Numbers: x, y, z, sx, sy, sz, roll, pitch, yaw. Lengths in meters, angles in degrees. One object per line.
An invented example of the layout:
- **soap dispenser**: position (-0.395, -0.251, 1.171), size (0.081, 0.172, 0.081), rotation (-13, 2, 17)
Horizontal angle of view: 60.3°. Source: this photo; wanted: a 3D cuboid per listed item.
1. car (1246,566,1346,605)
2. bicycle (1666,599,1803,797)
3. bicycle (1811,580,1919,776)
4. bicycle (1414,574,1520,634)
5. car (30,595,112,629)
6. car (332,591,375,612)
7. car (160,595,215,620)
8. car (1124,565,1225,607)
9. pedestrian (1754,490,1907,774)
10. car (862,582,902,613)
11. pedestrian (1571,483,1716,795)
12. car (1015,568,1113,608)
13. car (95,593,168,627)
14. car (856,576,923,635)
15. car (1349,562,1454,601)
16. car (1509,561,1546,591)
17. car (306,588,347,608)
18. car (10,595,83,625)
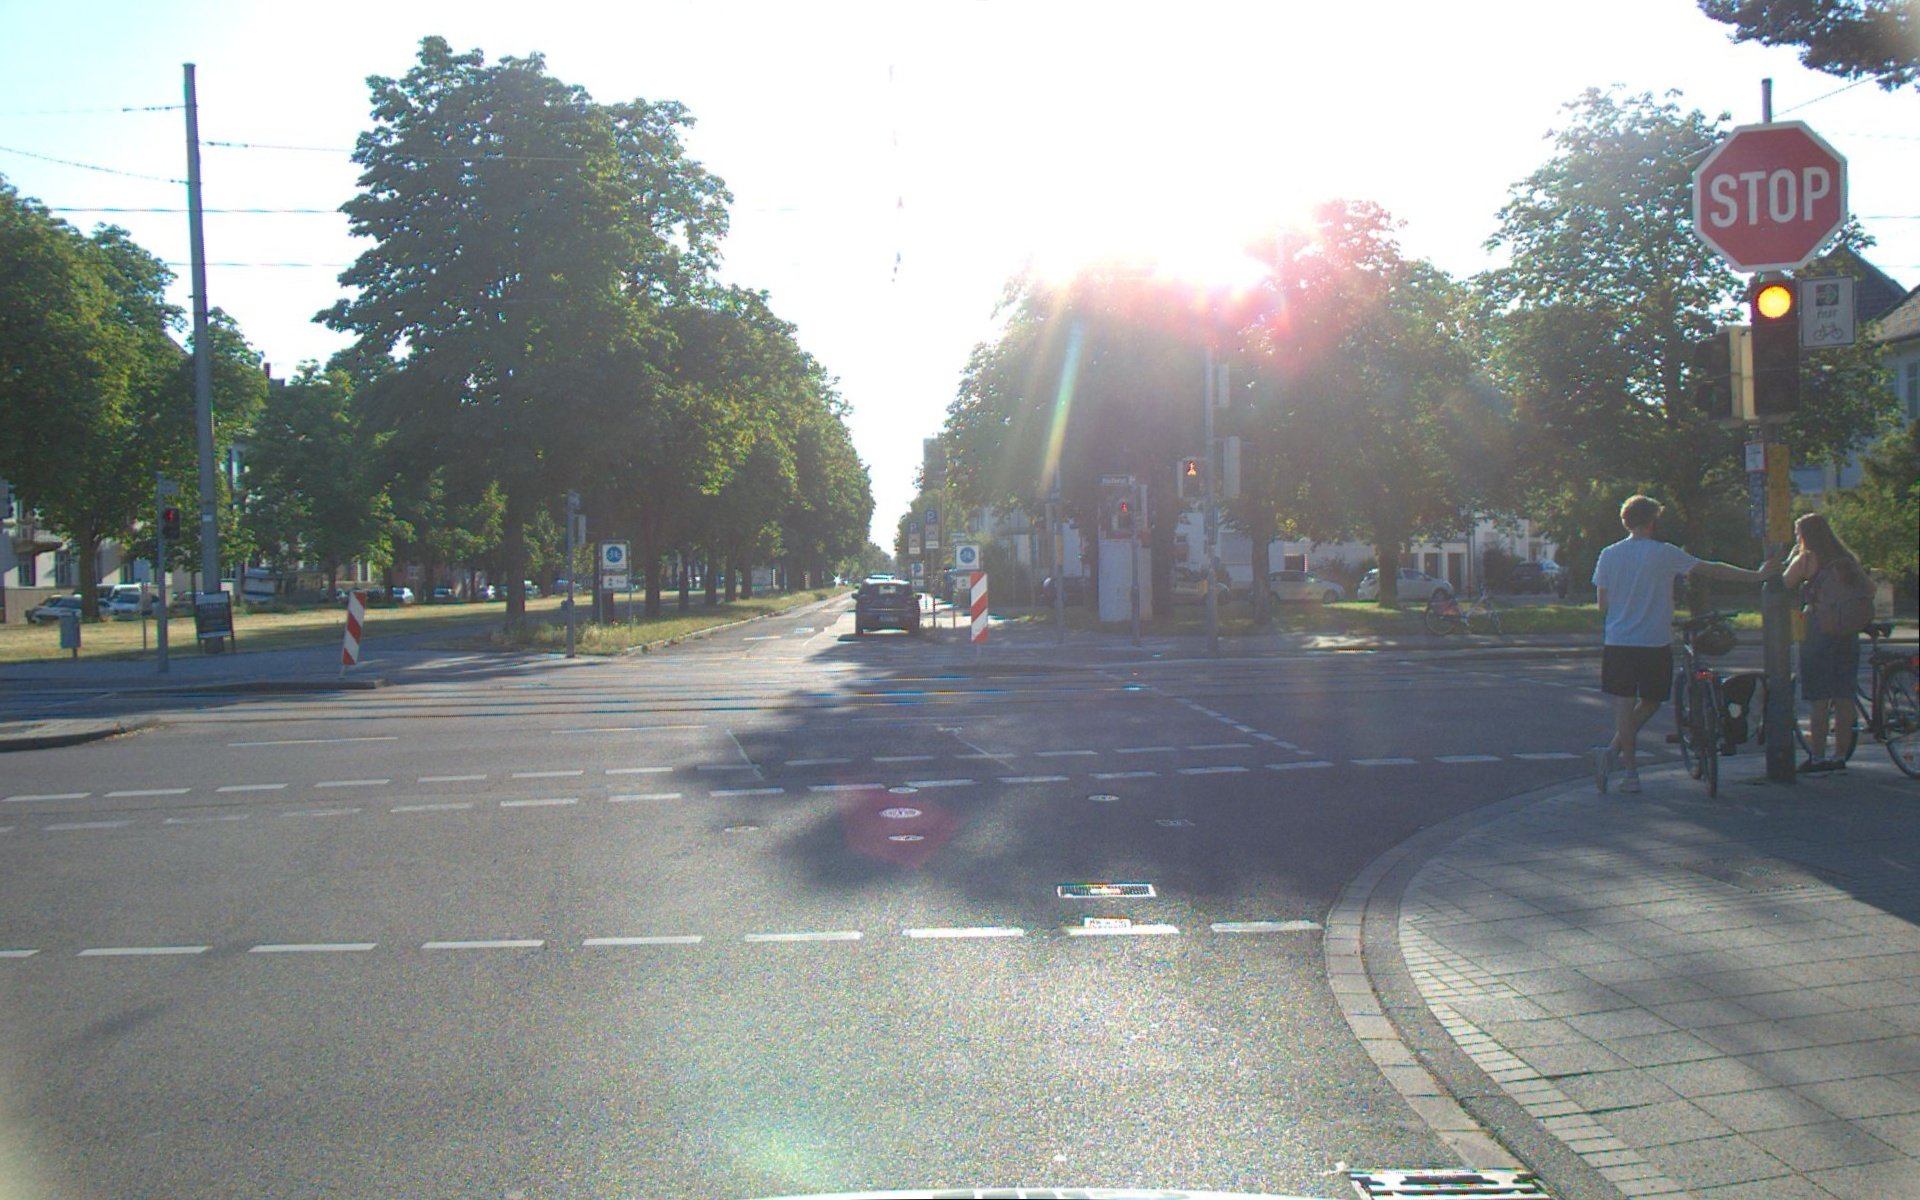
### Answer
- **car**: position (13.278, -0.587, 65.451), size (3.593, 1.452, 1.529), rotation (-1, 1, -7)
- **bicycle**: position (4.895, 0.578, 10.541), size (0.476, 1.116, 1.792), rotation (-3, 0, 17)
- **bicycle**: position (5.931, 0.468, 10.652), size (0.476, 1.163, 1.599), rotation (-3, -1, 17)
- **bicycle**: position (10.110, 0.082, 32.992), size (1.914, 1.152, 0.620), rotation (-1, 0, 0)
- **car**: position (-40.058, 0.525, 74.618), size (1.703, 1.452, 3.791), rotation (-1, 1, -2)
- **car**: position (-42.320, 0.100, 115.496), size (1.703, 1.452, 3.791), rotation (-1, 1, -2)
- **car**: position (-47.414, 0.459, 101.588), size (1.703, 1.452, 3.791), rotation (-1, 1, -2)
- **car**: position (8.474, -0.583, 65.432), size (3.704, 1.552, 1.743), rotation (-1, 2, -3)
- **pedestrian**: position (5.602, 0.208, 10.680), size (0.655, 1.738, 0.623), rotation (-4, -2, 17)
- **car**: position (-3.651, -0.138, 77.802), size (1.808, 1.418, 3.828), rotation (0, 1, -2)
- **pedestrian**: position (4.442, 0.248, 10.769), size (0.657, 1.897, 0.881), rotation (-6, -2, 23)
- **car**: position (4.061, -0.491, 65.038), size (3.704, 1.452, 1.743), rotation (-1, 2, -3)
- **car**: position (-40.322, 0.461, 80.620), size (1.703, 1.452, 3.792), rotation (-1, 2, -2)
- **car**: position (-1.826, 0.117, 43.837), size (1.607, 1.476, 3.307), rotation (-1, 1, 0)
- **car**: position (17.684, -0.742, 66.291), size (3.772, 1.452, 1.595), rotation (-1, 1, -7)
- **car**: position (28.990, -1.235, 84.491), size (1.629, 1.442, 3.543), rotation (-1, 1, 21)
- **car**: position (-48.085, -0.163, 125.654), size (1.703, 1.452, 3.791), rotation (-1, 1, -2)
- **car**: position (-47.036, 0.504, 85.231), size (1.703, 1.452, 3.791), rotation (-1, 1, -2)
